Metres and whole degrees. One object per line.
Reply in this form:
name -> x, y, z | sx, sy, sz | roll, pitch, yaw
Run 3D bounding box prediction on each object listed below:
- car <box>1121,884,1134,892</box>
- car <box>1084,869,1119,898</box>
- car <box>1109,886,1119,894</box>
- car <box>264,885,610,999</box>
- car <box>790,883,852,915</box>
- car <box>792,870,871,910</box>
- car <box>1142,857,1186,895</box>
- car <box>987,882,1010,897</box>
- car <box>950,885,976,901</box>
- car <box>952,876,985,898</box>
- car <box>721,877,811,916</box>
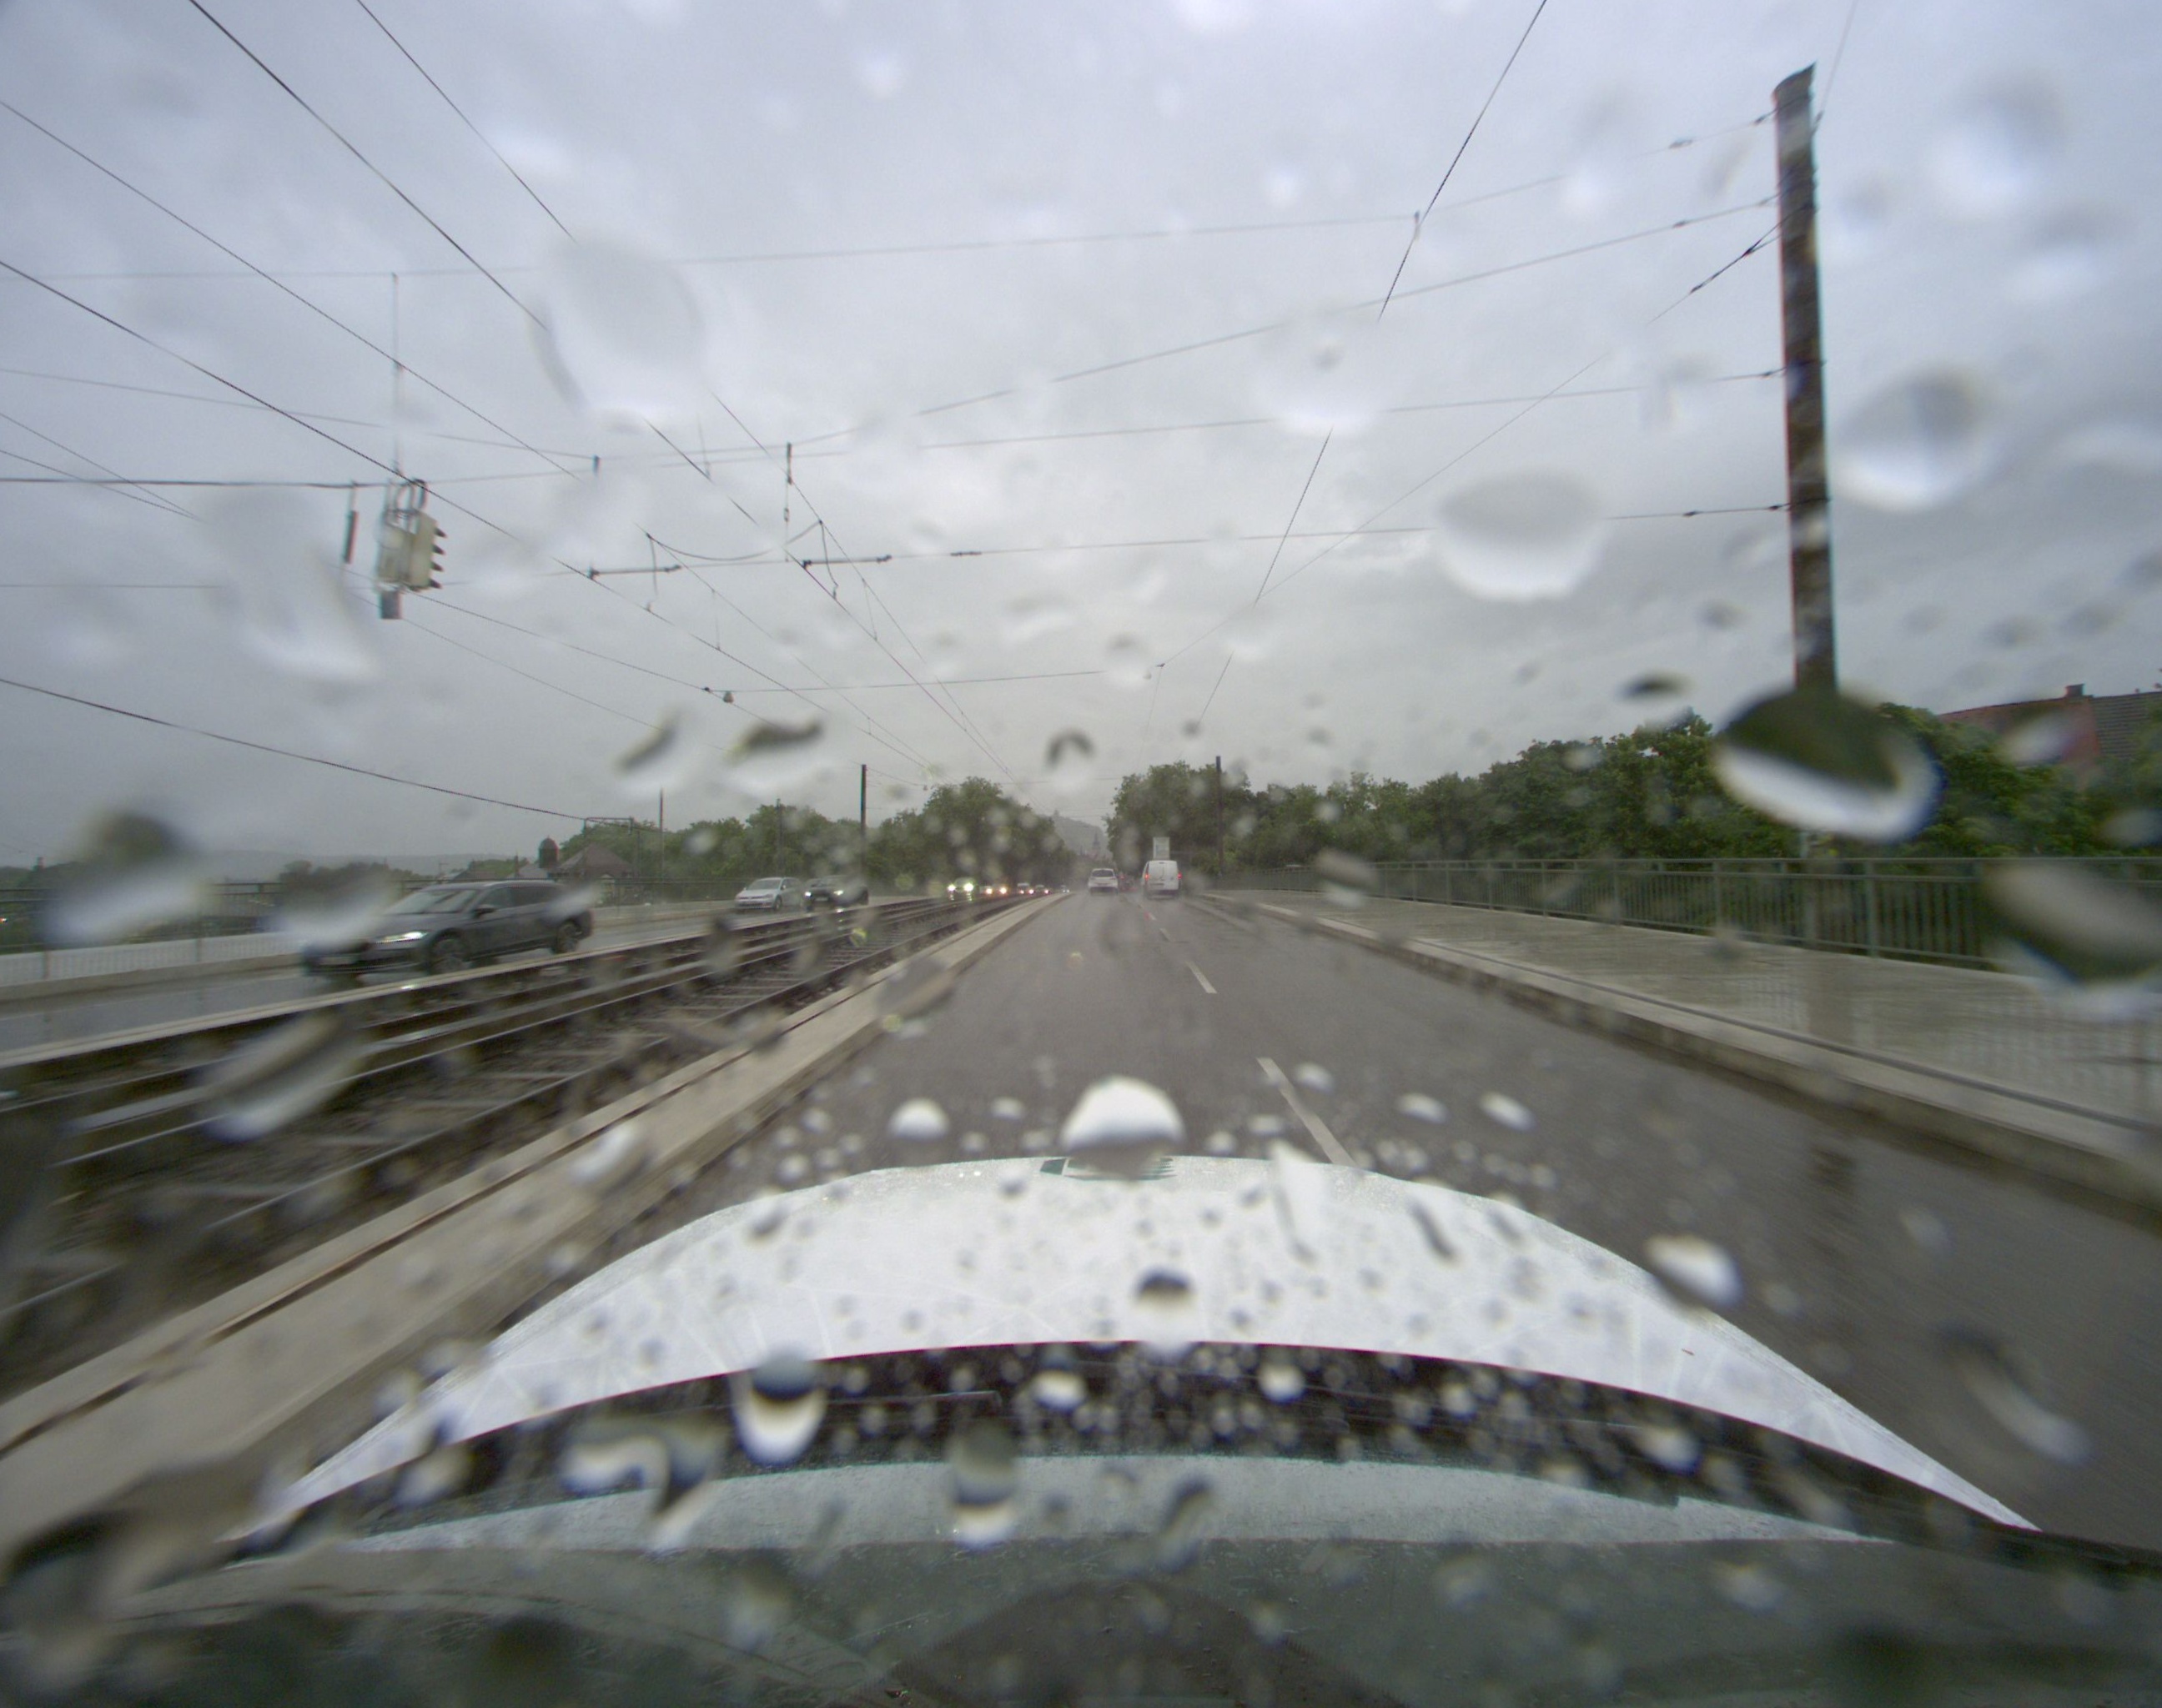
car -> 7.379, 5.346, 128.353 | 1.985, 1.321, 4.004 | 0, -2, 4
car -> 1.346, 1.803, 50.722 | 1.985, 1.717, 4.004 | 0, -2, 4
car -> 7.403, 8.110, 183.416 | 1.985, 1.827, 4.004 | 0, -2, 4
car -> -10.750, 1.366, 14.282 | 1.987, 1.509, 5.111 | -3, -2, -1
car -> -13.186, 2.270, 41.517 | 1.614, 1.456, 4.322 | -3, -2, 1
car -> -10.464, 1.501, 34.494 | 1.987, 1.509, 4.092 | -3, -2, 1
car -> 3.894, 1.045, 38.732 | 1.985, 1.726, 4.004 | 0, -2, 4
car -> -8.345, 3.567, 82.656 | 1.792, 1.482, 4.085 | 0, -2, 2
car -> -11.882, 3.877, 82.134 | 1.857, 1.456, 4.319 | -3, -2, 1
car -> -8.772, 2.546, 63.829 | 1.811, 1.655, 4.002 | 0, -2, 2
car -> -13.536, 1.790, 35.316 | 1.986, 1.456, 4.620 | -3, -2, 1
